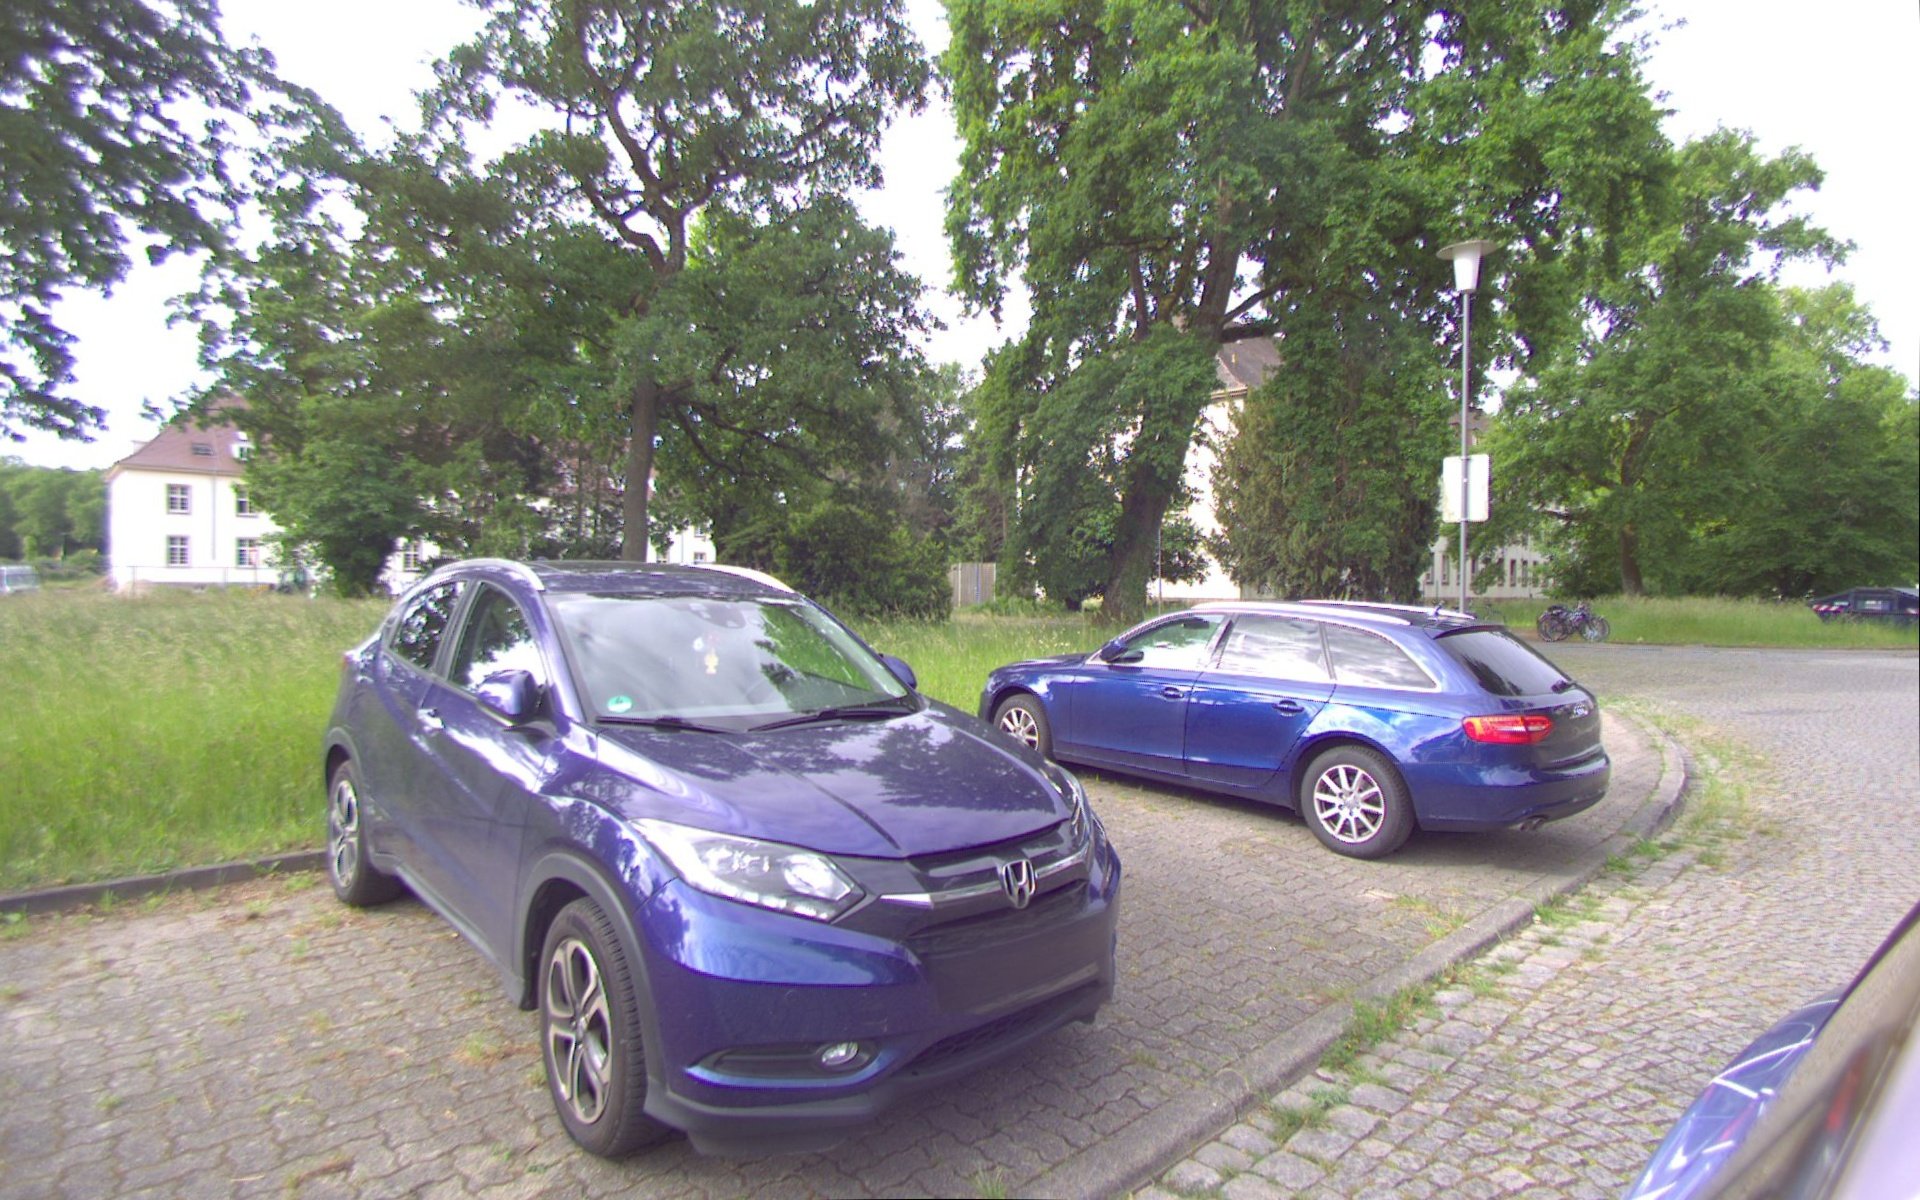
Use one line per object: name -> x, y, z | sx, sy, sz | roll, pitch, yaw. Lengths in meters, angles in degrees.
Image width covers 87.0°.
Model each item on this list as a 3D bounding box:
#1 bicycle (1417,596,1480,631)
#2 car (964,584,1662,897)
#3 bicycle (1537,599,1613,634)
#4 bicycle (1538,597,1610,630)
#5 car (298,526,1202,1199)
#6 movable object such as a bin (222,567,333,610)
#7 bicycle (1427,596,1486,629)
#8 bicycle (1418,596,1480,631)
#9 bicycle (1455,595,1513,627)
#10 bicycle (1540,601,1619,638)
bicycle -> 16.243, 0.451, 33.681 | 1.837, 1.137, 0.617 | 0, 0, 24
car -> 2.142, 0.666, 7.293 | 1.753, 1.439, 4.479 | 0, 2, -40
bicycle -> 19.507, 0.521, 32.131 | 1.948, 1.090, 0.584 | 0, 0, 20
bicycle -> 20.598, 0.448, 33.997 | 2.007, 1.090, 0.617 | 0, 0, 24
car -> -1.270, 0.590, 4.179 | 1.763, 1.591, 4.167 | -1, 2, -43
movable object such as a bin -> -44.194, -0.771, 65.581 | 5.868, 2.688, 2.174 | -1, 0, -38
bicycle -> 17.461, 0.425, 35.648 | 1.837, 1.137, 0.617 | 0, 0, 24
bicycle -> 16.536, 0.444, 34.247 | 1.837, 1.137, 0.617 | 0, 0, 24
bicycle -> 19.164, 0.390, 37.022 | 1.837, 1.137, 0.617 | 0, 0, 24
bicycle -> 18.744, 0.574, 30.670 | 1.948, 1.090, 0.584 | 0, 0, 20
